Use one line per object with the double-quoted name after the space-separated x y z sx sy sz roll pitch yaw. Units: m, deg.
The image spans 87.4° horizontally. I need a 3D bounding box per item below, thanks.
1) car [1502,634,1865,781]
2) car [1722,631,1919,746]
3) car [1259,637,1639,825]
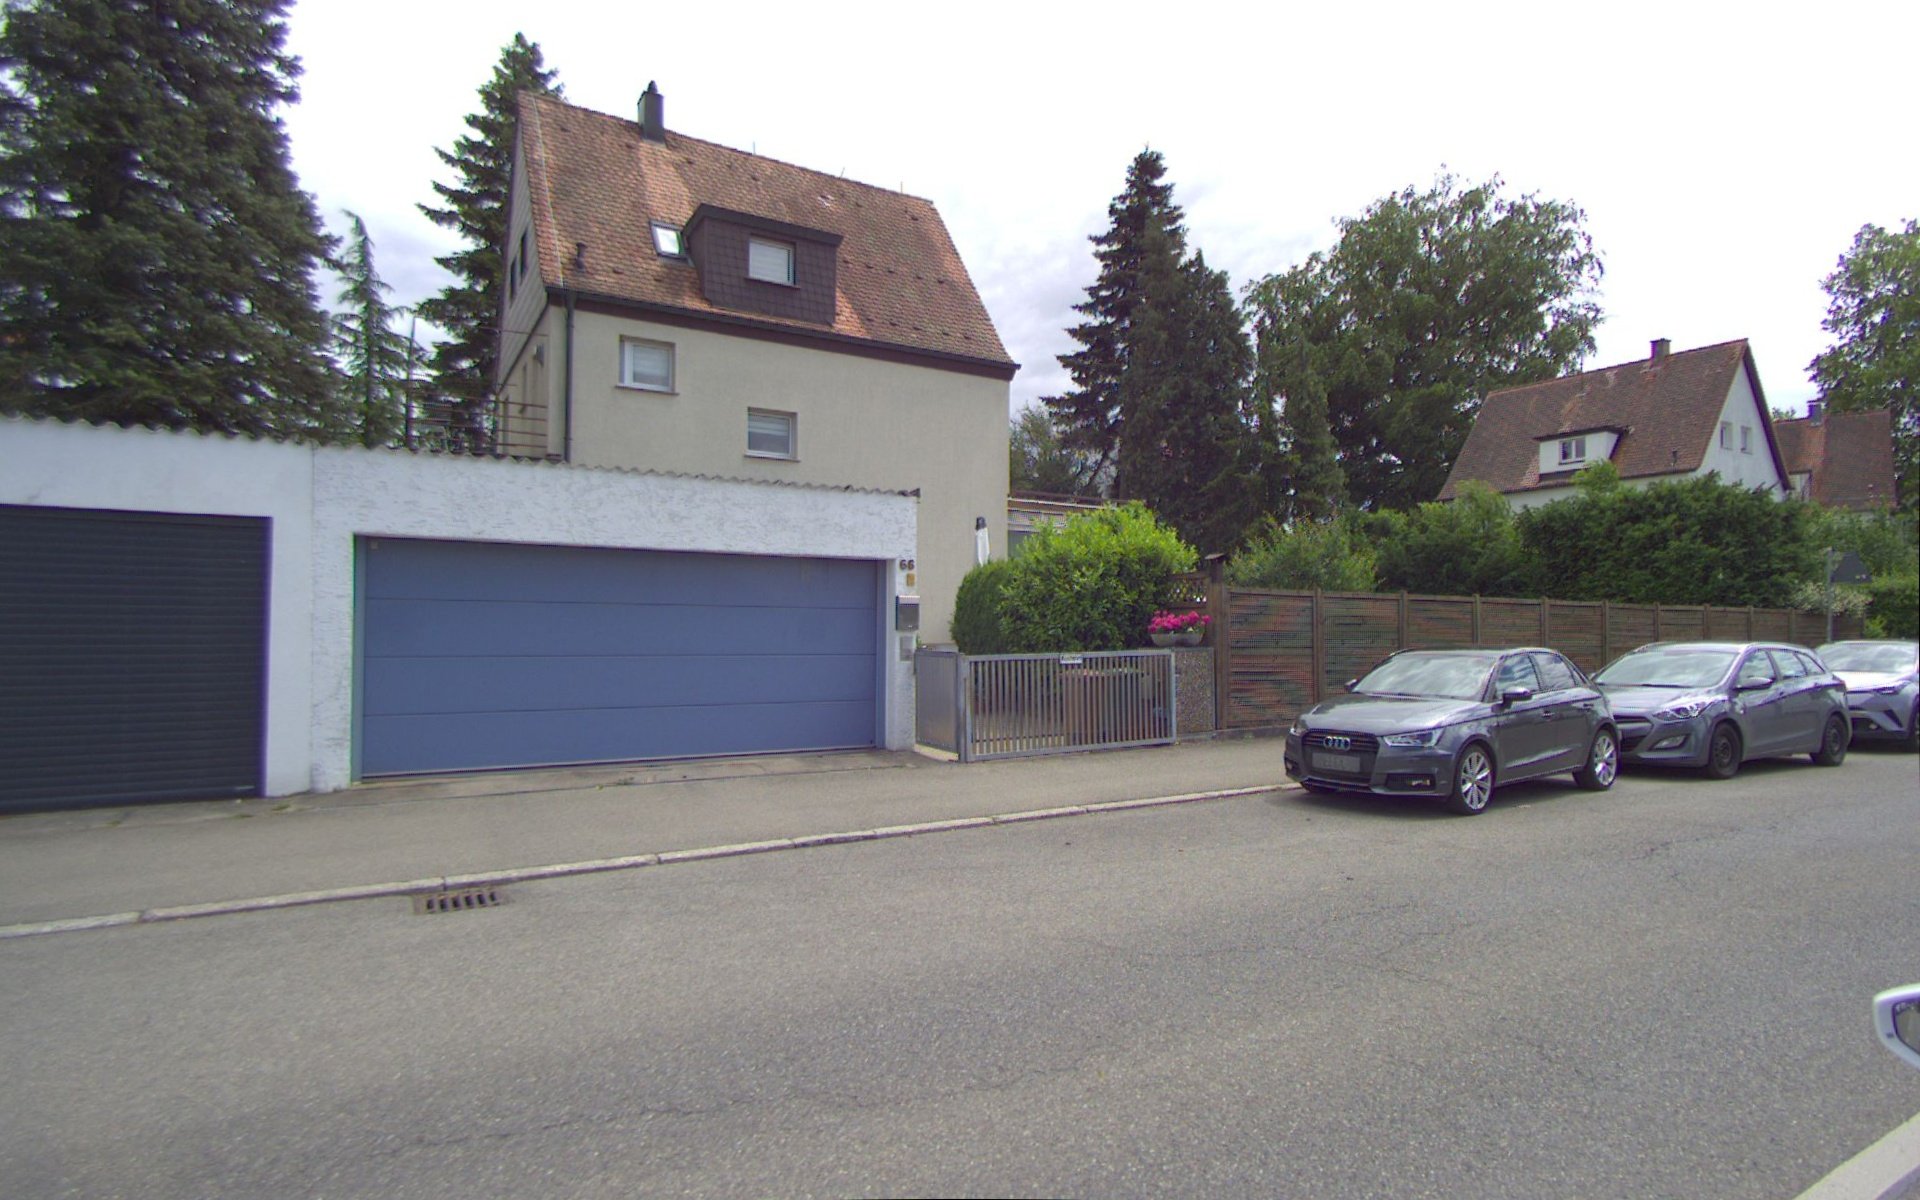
8.782 1.157 12.129 4.434 1.478 1.859 1 -2 -29 "car"
13.773 1.230 15.057 4.588 1.499 1.986 1 -3 -28 "car"
4.869 1.125 9.839 3.865 1.446 1.641 0 -2 -34 "car"
